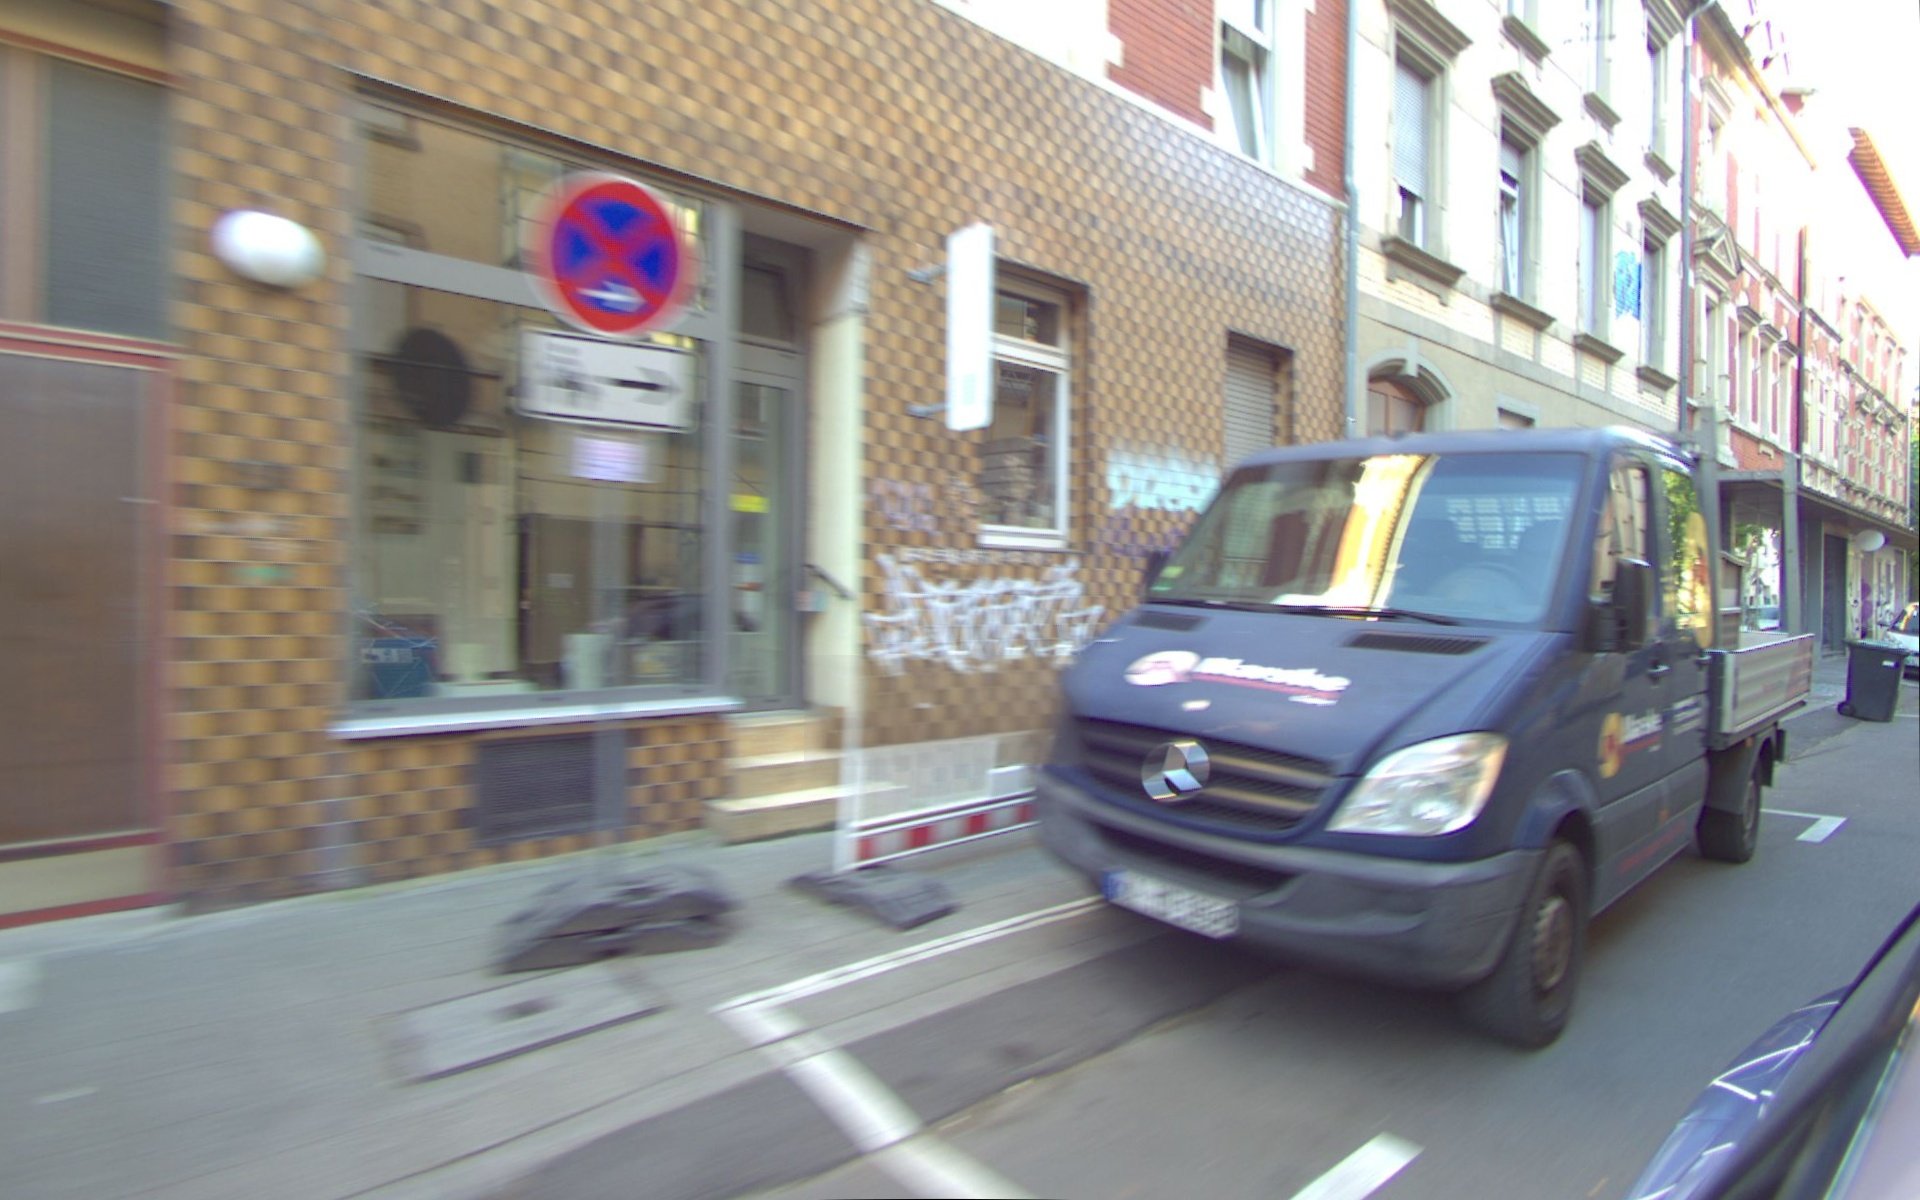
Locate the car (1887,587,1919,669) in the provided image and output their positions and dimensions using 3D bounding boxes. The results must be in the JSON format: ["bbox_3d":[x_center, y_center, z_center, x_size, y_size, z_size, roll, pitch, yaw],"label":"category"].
[{"bbox_3d":[20.299,0.603,20.619,3.402,1.552,1.526,0,6,-40],"label":"car"}]

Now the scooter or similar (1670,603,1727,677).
[{"bbox_3d":[12.377,0.653,16.947,1.419,1.157,0.389,0,4,-41],"label":"scooter or similar"}]

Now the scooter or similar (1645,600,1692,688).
[{"bbox_3d":[10.724,0.636,15.304,0.454,1.224,1.425,5,4,37],"label":"scooter or similar"}]

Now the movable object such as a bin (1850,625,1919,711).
[{"bbox_3d":[12.555,0.903,13.636,0.675,1.070,0.742,0,1,-40],"label":"movable object such as a bin"}]

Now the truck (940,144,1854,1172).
[{"bbox_3d":[2.951,0.084,5.532,6.148,2.689,2.152,0,5,-43],"label":"truck"}]
